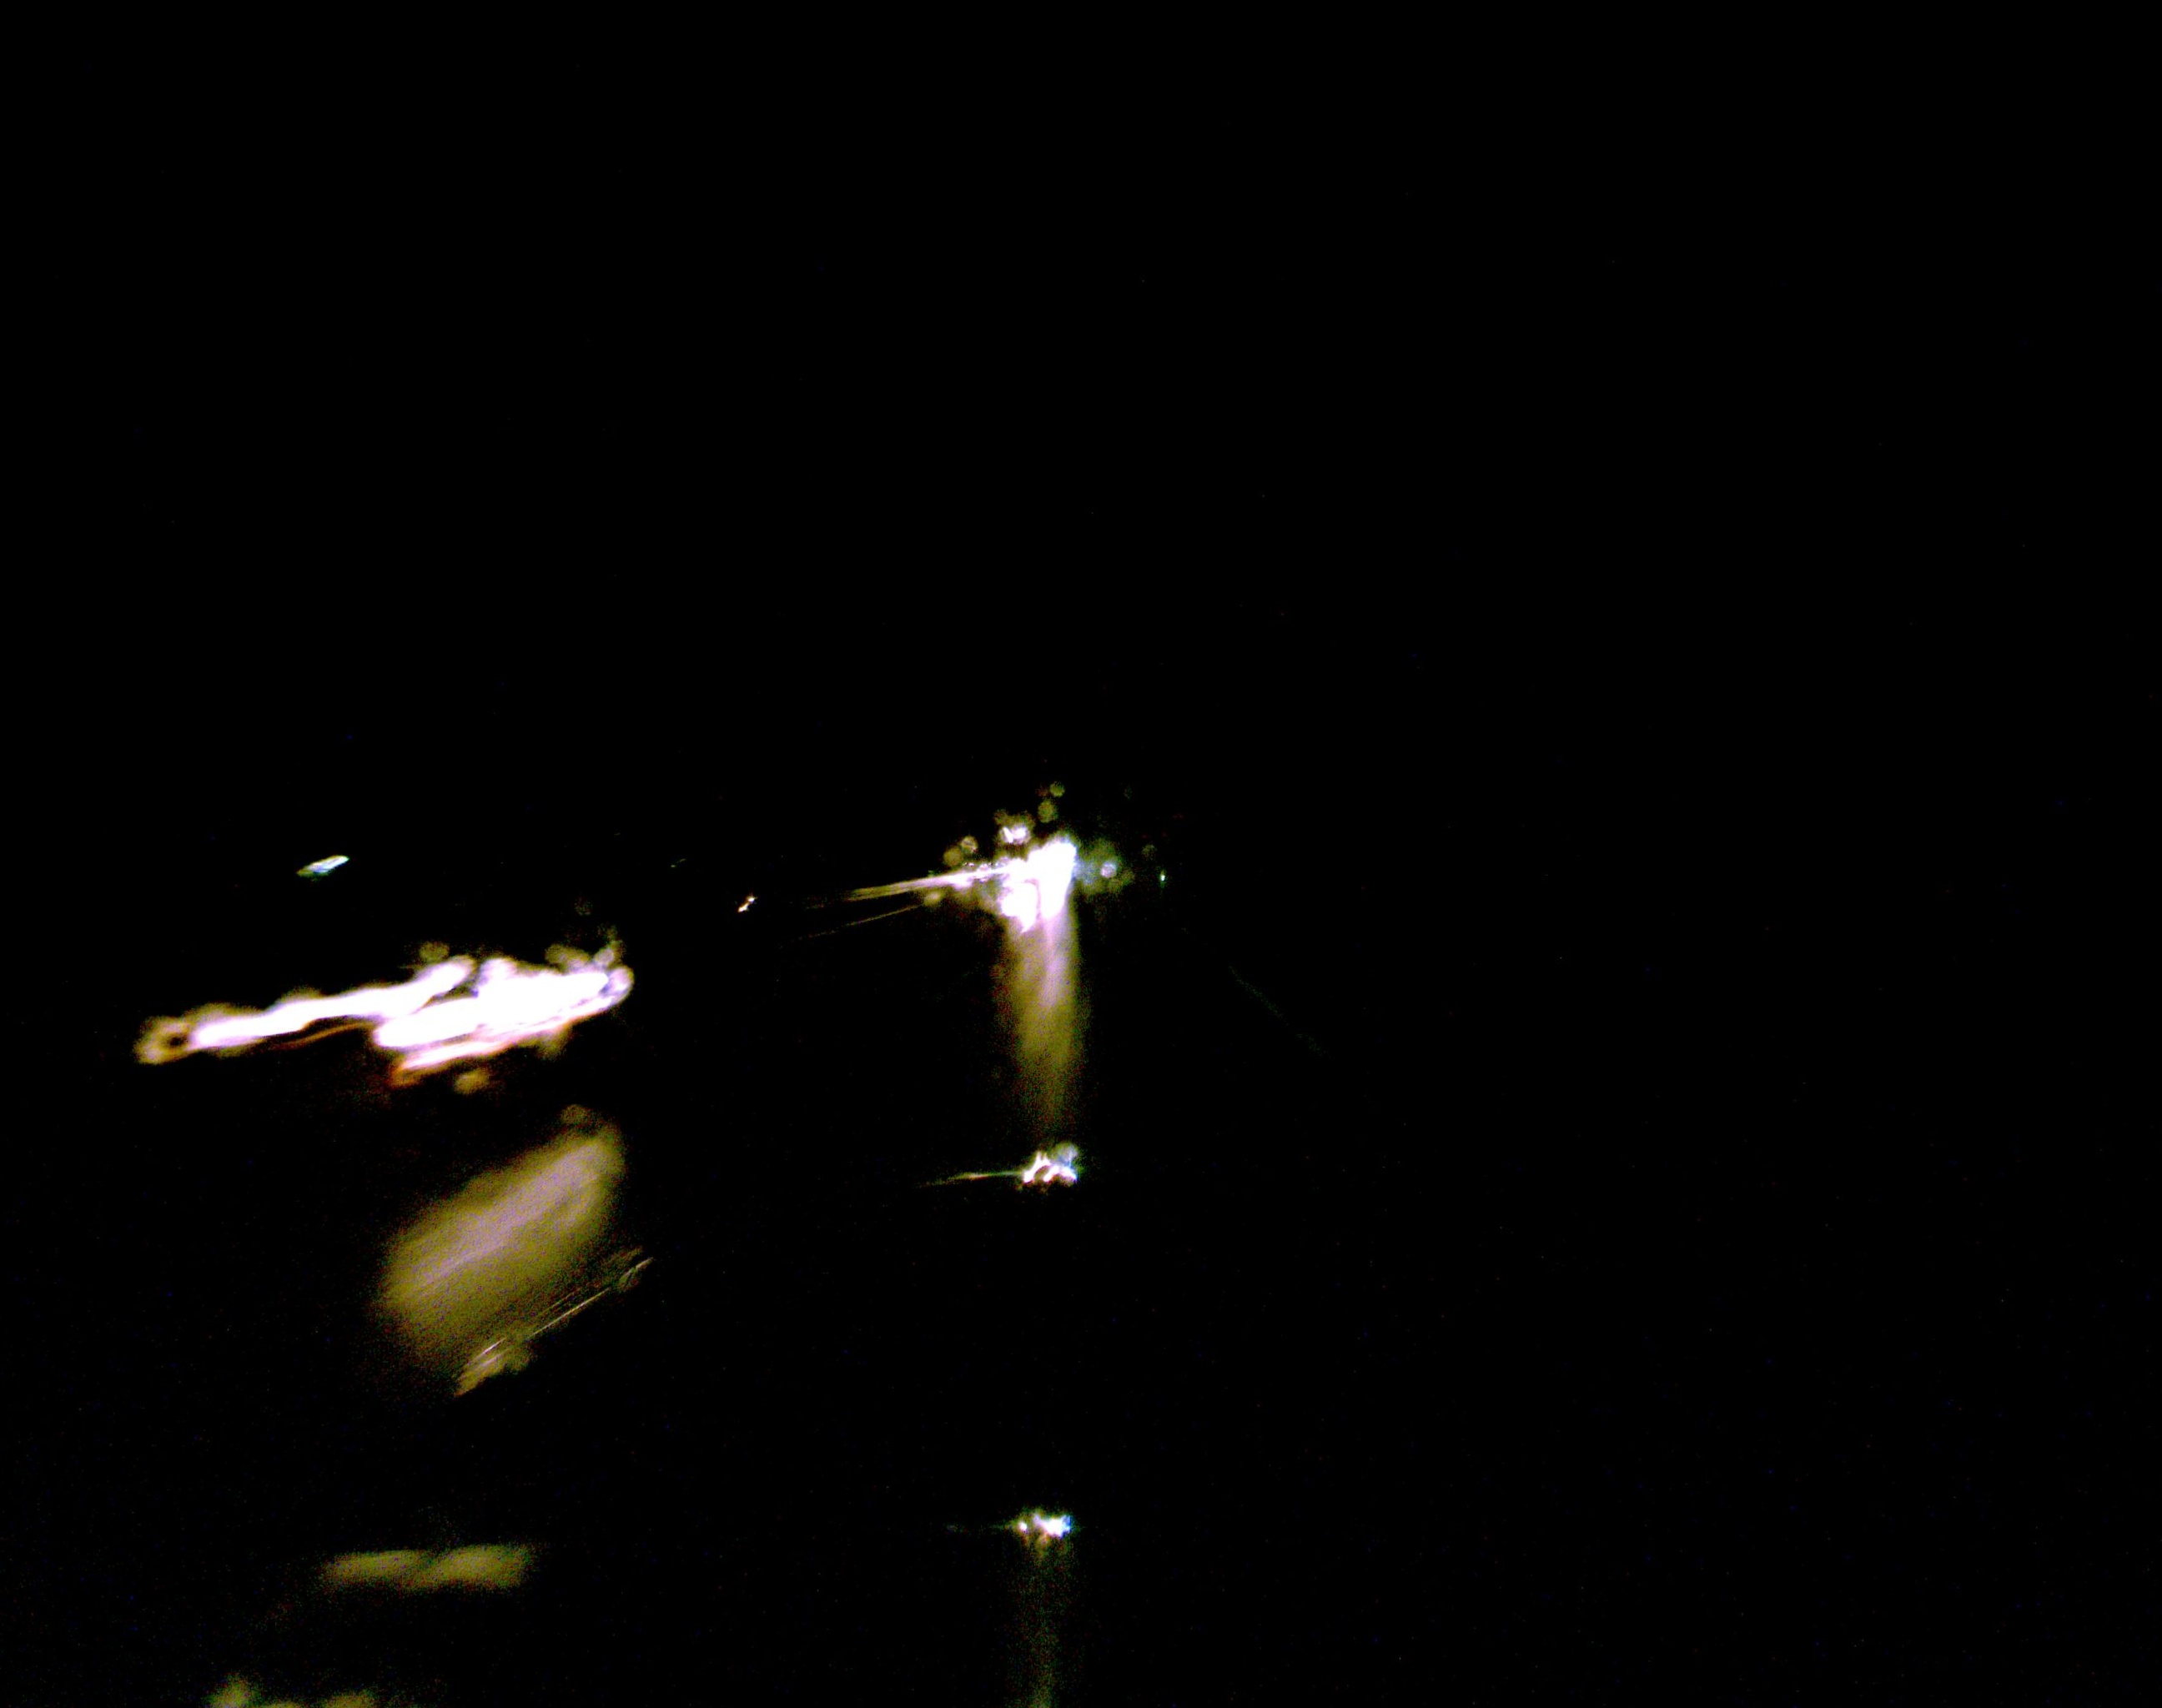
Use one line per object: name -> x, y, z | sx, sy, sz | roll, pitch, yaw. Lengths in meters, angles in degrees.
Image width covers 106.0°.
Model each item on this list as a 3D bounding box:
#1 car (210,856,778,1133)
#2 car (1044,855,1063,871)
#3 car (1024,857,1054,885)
car -> -4.004, 0.791, 6.492 | 1.687, 1.520, 3.862 | -1, 0, 0
car -> -2.985, 1.009, 90.139 | 1.920, 1.703, 4.000 | 0, 0, 0
car -> -2.564, 1.005, 50.370 | 1.478, 1.616, 3.562 | 2, 0, 2
